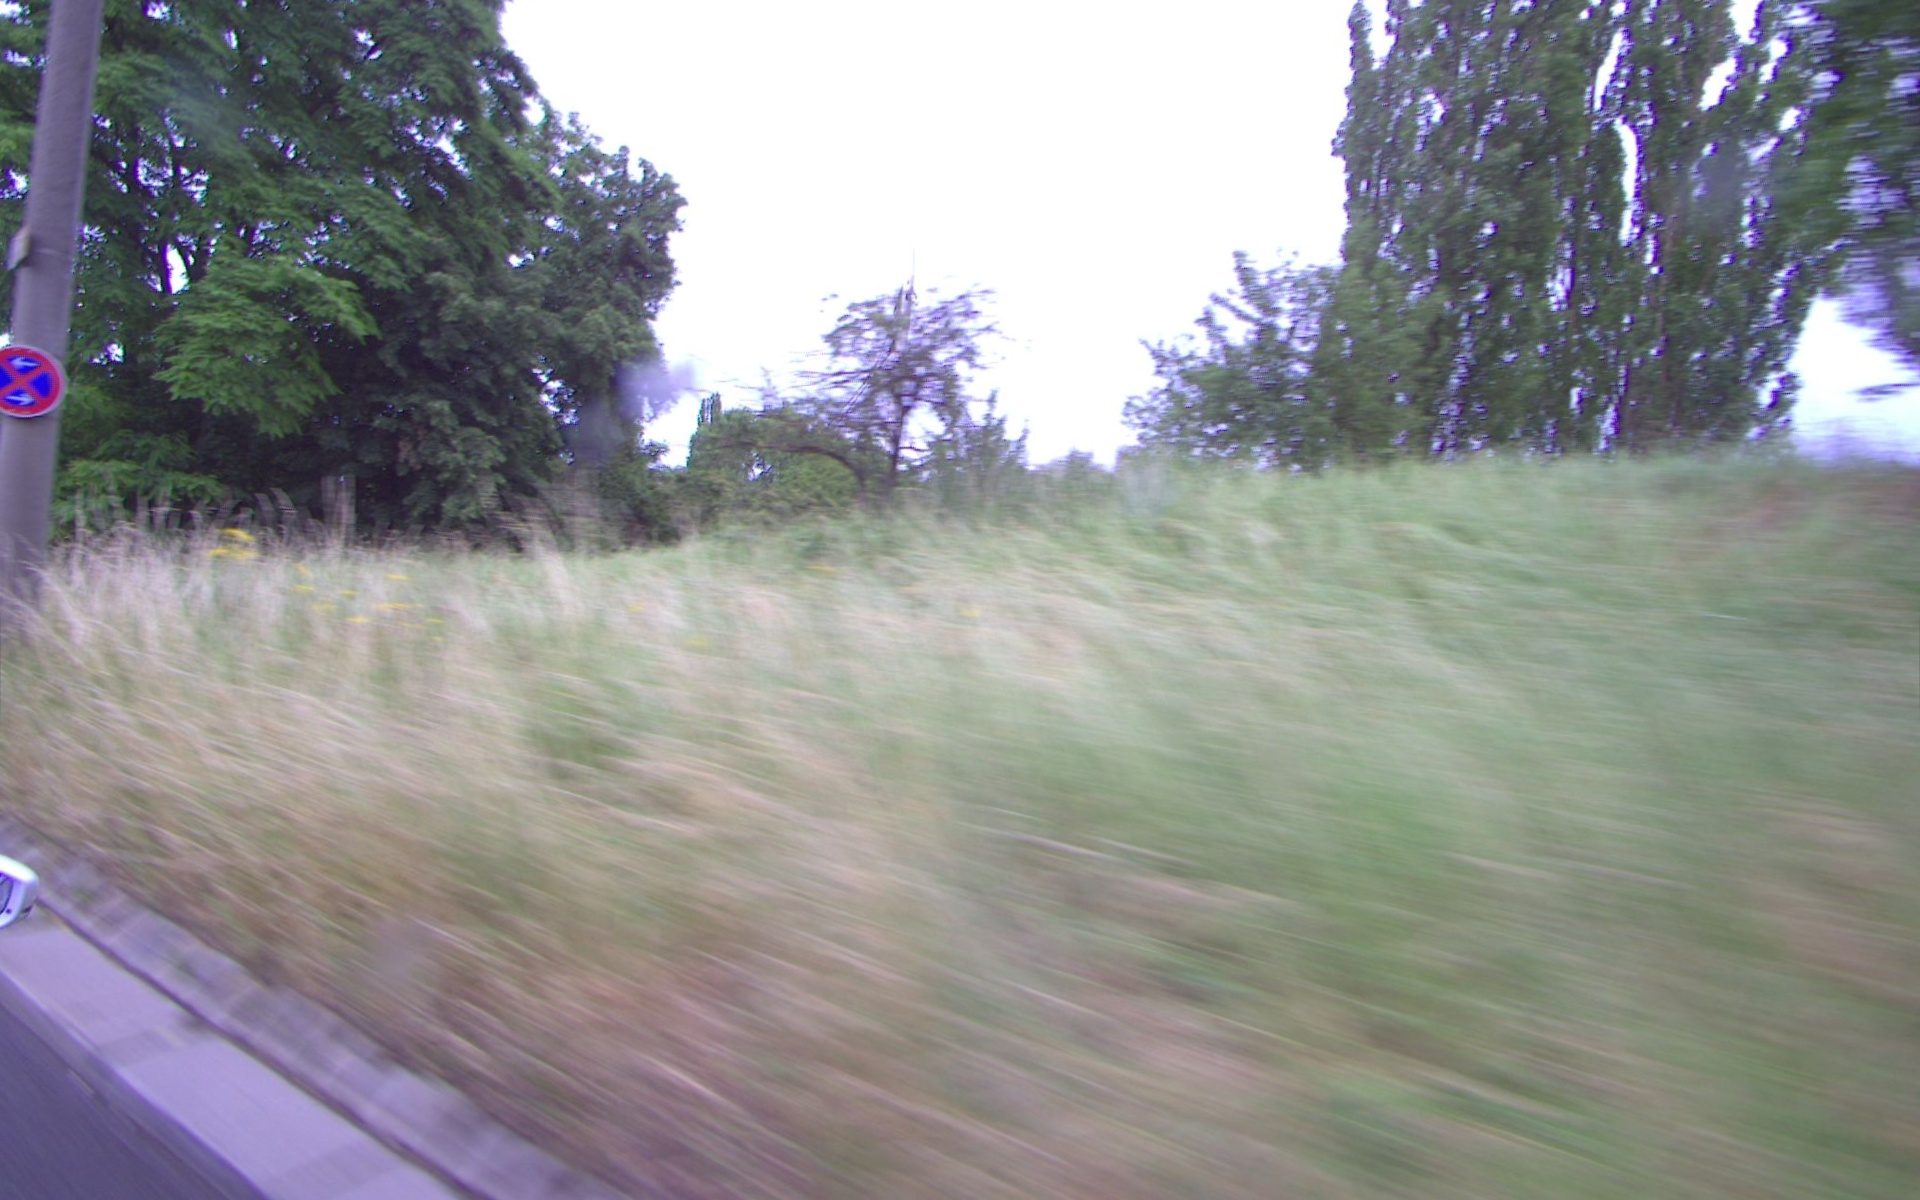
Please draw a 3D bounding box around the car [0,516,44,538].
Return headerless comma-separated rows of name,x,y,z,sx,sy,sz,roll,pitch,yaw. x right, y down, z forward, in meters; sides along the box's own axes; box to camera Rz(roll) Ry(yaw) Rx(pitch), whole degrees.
car,-73.026,-5.650,77.694,1.974,1.382,4.169,7,-1,-23
